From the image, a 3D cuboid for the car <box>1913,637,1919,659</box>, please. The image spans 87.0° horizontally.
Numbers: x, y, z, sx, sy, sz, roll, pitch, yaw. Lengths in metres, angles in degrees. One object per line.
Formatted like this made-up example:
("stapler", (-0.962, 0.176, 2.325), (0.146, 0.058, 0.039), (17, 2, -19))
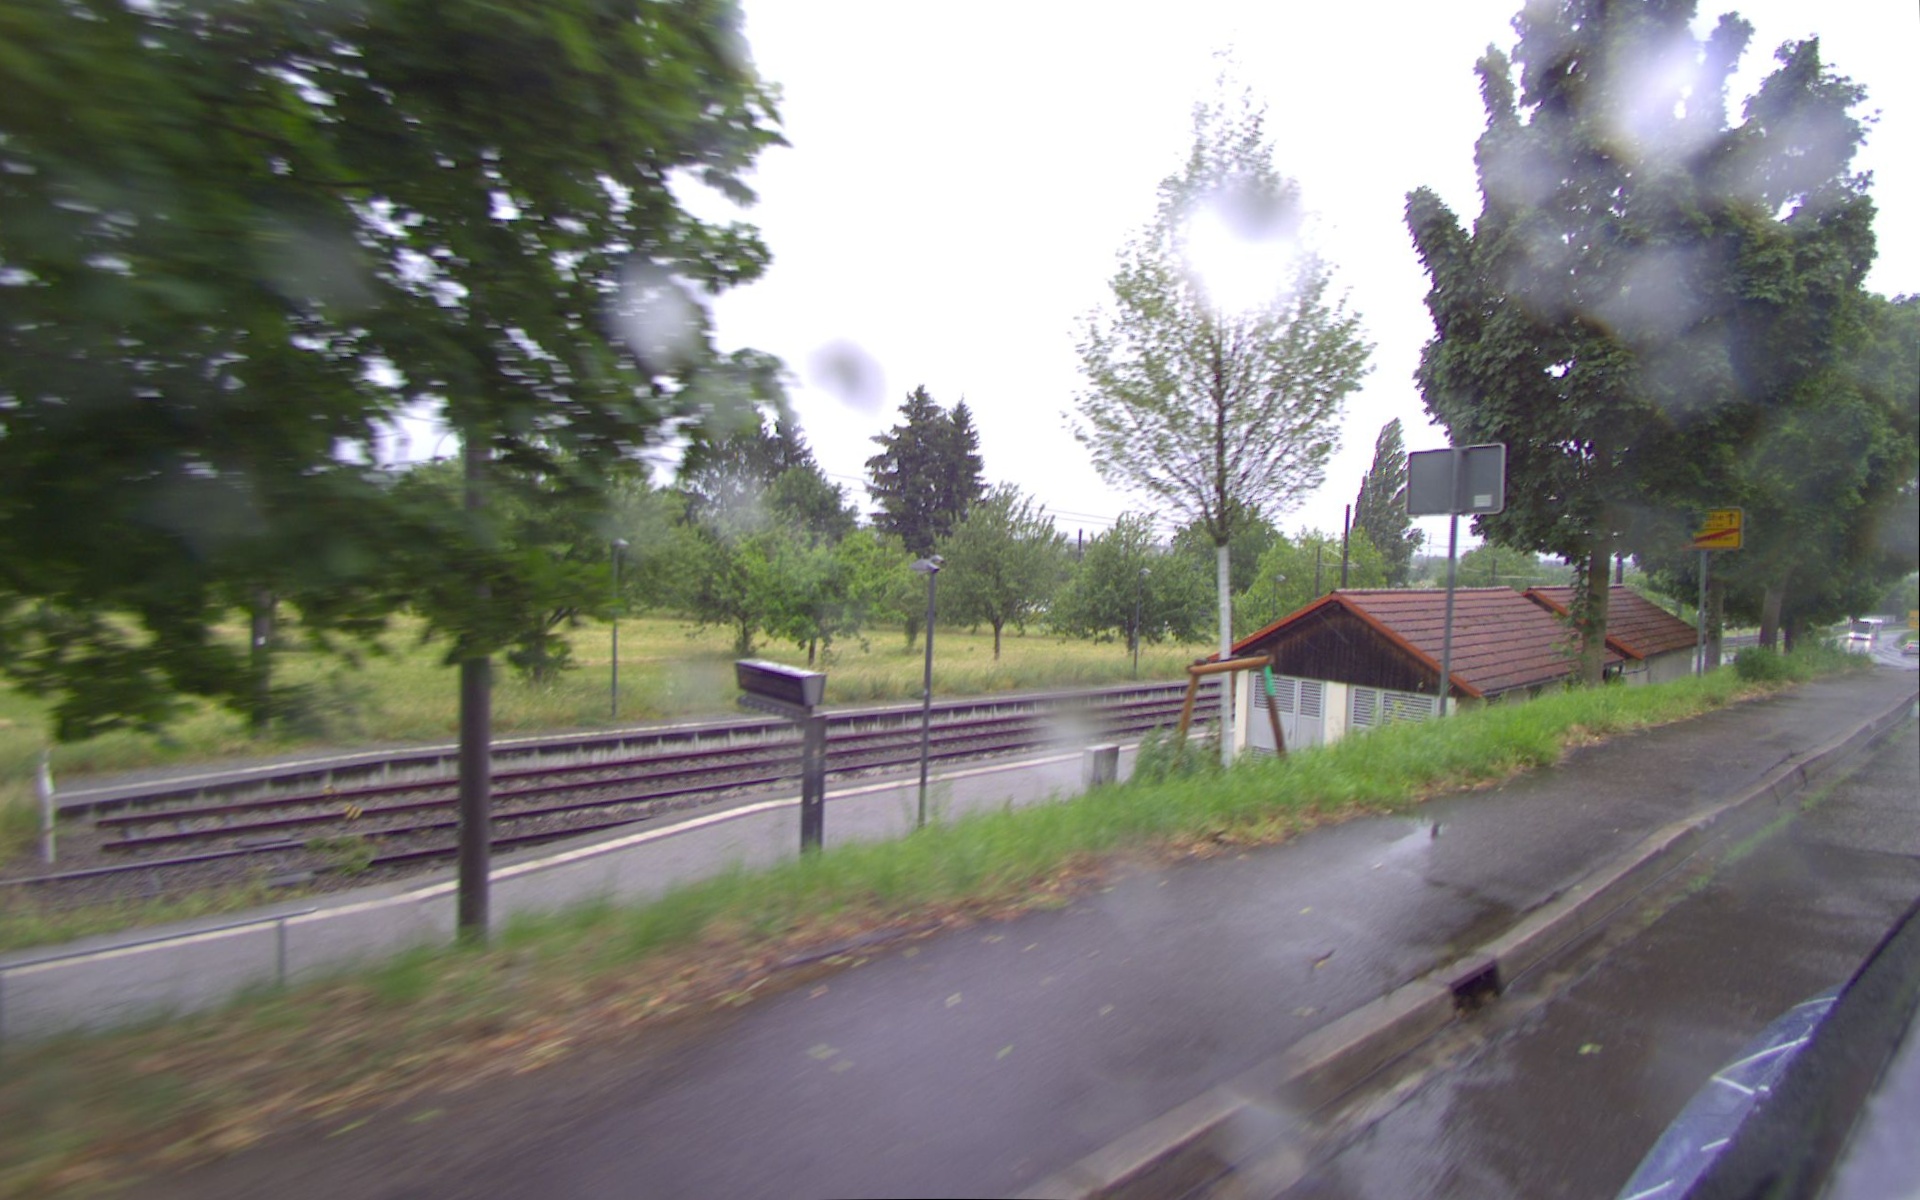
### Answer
("car", (93.601, 4.683, 97.610), (1.990, 2.038, 3.945), (3, 2, 38))
